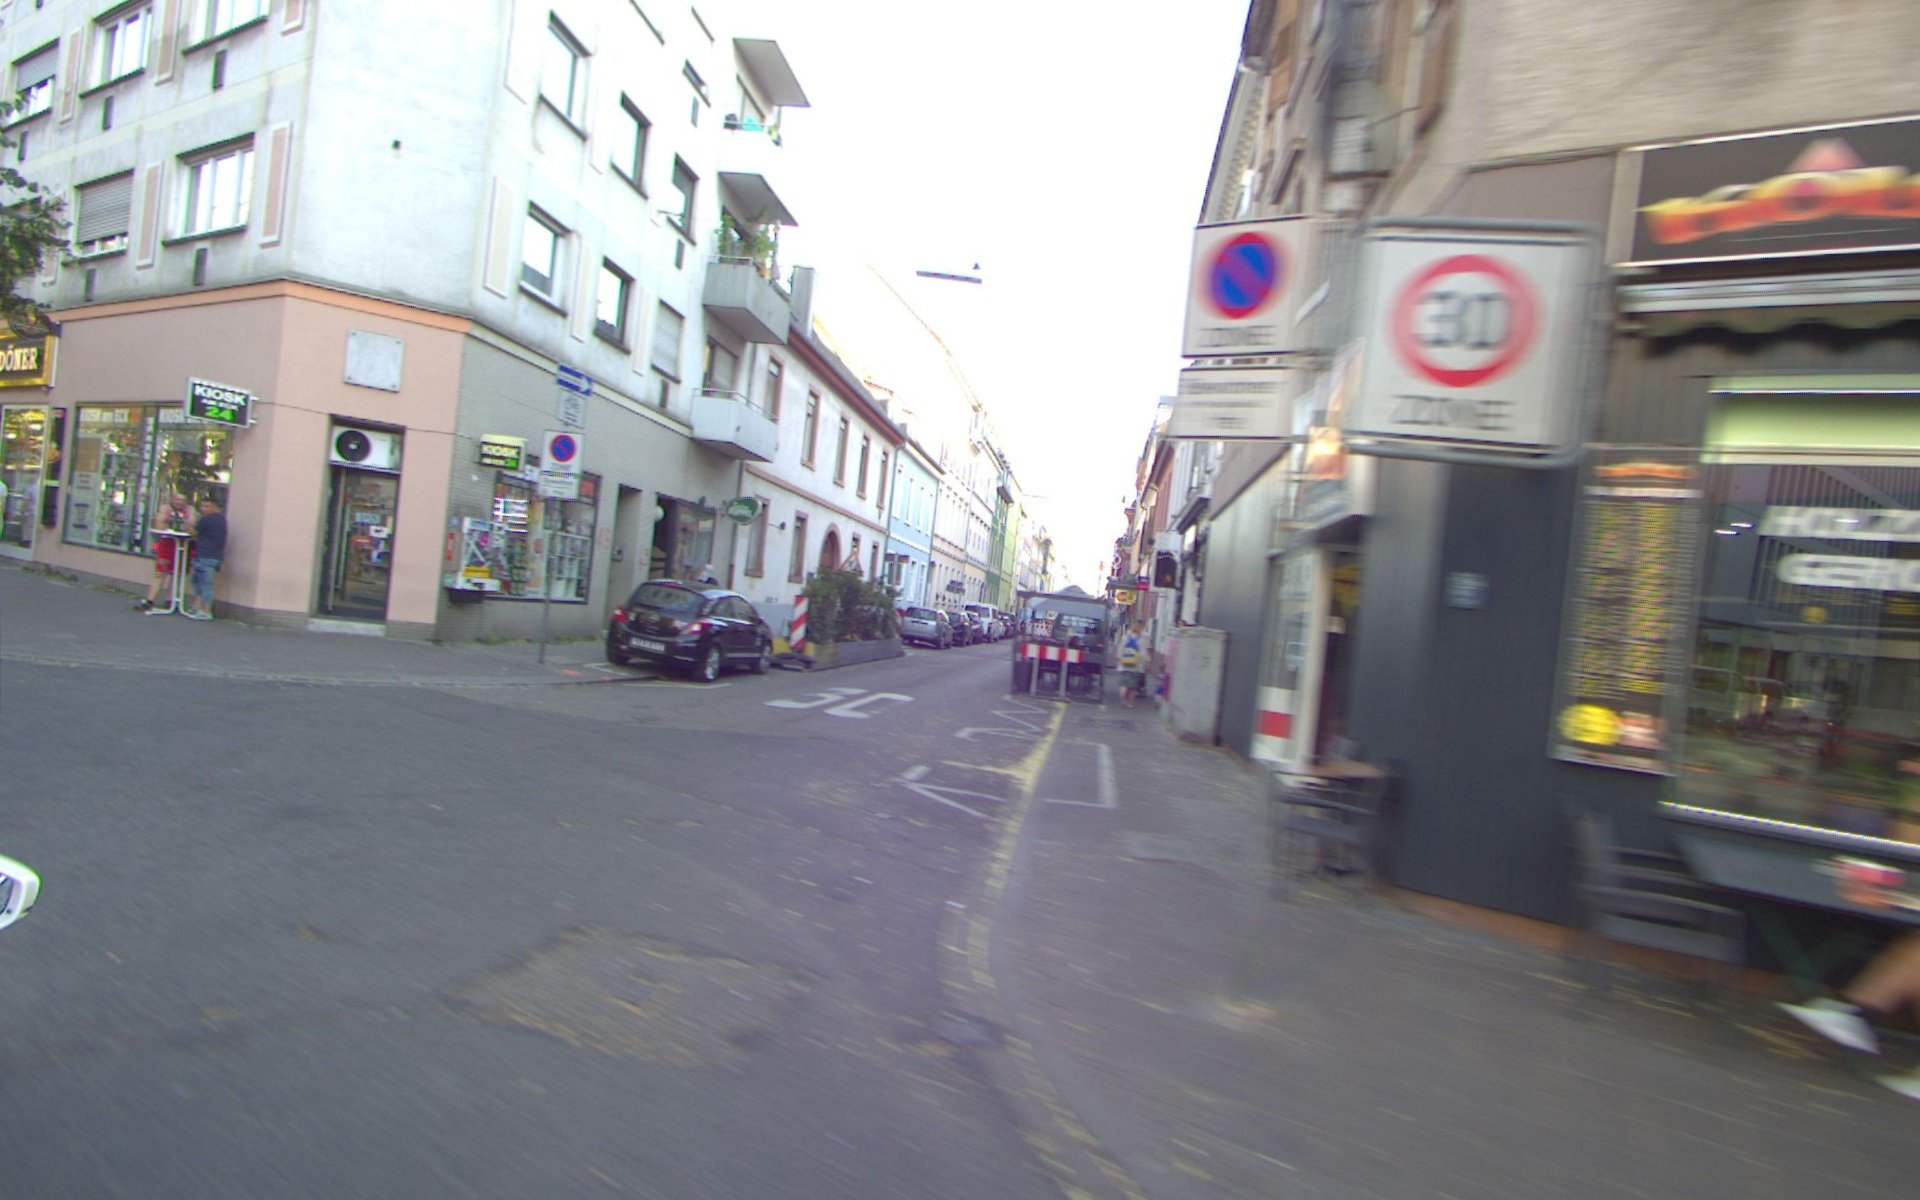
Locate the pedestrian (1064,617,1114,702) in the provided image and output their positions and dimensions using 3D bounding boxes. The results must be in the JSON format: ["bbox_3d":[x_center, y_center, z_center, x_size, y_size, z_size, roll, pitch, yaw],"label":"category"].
[{"bbox_3d":[2.572,1.180,20.199,0.824,1.593,0.800,5,1,4],"label":"pedestrian"}]

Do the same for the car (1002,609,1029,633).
[{"bbox_3d":[4.544,1.711,81.810,1.755,1.667,3.677,9,0,8],"label":"car"}]

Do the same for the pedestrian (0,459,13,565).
[{"bbox_3d":[-17.182,-1.592,17.582,0.879,1.827,0.697,8,1,40],"label":"pedestrian"}]

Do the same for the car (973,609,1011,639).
[{"bbox_3d":[1.995,1.480,61.677,1.755,1.506,3.677,9,0,8],"label":"car"}]

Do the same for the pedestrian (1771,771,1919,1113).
[{"bbox_3d":[4.069,1.373,3.839,1.338,1.156,0.682,6,1,32],"label":"pedestrian"}]

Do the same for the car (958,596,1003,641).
[{"bbox_3d":[1.141,1.003,54.426,1.755,2.080,3.677,9,0,8],"label":"car"}]

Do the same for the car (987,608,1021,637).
[{"bbox_3d":[3.089,1.562,69.947,1.755,1.667,3.677,9,0,8],"label":"car"}]

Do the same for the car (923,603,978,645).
[{"bbox_3d":[-0.366,1.074,44.771,1.755,1.506,3.677,9,0,8],"label":"car"}]

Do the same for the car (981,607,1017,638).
[{"bbox_3d":[2.579,1.469,65.927,1.755,1.667,3.677,9,0,8],"label":"car"}]

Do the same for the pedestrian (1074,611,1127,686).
[{"bbox_3d":[3.378,1.170,24.177,0.827,1.657,0.798,8,1,34],"label":"pedestrian"}]

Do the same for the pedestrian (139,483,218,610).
[{"bbox_3d":[-10.624,-0.717,13.674,0.652,1.621,0.567,9,3,32],"label":"pedestrian"}]

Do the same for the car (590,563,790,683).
[{"bbox_3d":[-4.325,0.384,16.750,1.755,1.506,3.677,9,0,8],"label":"car"}]

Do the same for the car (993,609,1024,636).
[{"bbox_3d":[3.567,1.640,74.031,1.755,1.667,3.677,9,0,8],"label":"car"}]

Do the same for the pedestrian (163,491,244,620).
[{"bbox_3d":[-9.991,-0.585,13.289,0.652,1.605,0.567,9,3,32],"label":"pedestrian"}]

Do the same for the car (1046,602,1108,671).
[{"bbox_3d":[4.009,1.227,34.316,1.755,1.989,4.049,7,0,8],"label":"car"}]

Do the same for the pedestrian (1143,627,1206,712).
[{"bbox_3d":[4.355,1.408,20.375,0.827,1.592,0.798,8,1,34],"label":"pedestrian"}]

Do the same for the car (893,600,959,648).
[{"bbox_3d":[-1.262,0.922,38.704,1.755,1.506,3.677,9,0,8],"label":"car"}]

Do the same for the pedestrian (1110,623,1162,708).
[{"bbox_3d":[3.504,1.294,20.145,0.824,1.593,0.800,5,1,4],"label":"pedestrian"}]

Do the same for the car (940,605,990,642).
[{"bbox_3d":[0.286,1.146,49.368,1.755,1.506,3.677,9,0,8],"label":"car"}]
